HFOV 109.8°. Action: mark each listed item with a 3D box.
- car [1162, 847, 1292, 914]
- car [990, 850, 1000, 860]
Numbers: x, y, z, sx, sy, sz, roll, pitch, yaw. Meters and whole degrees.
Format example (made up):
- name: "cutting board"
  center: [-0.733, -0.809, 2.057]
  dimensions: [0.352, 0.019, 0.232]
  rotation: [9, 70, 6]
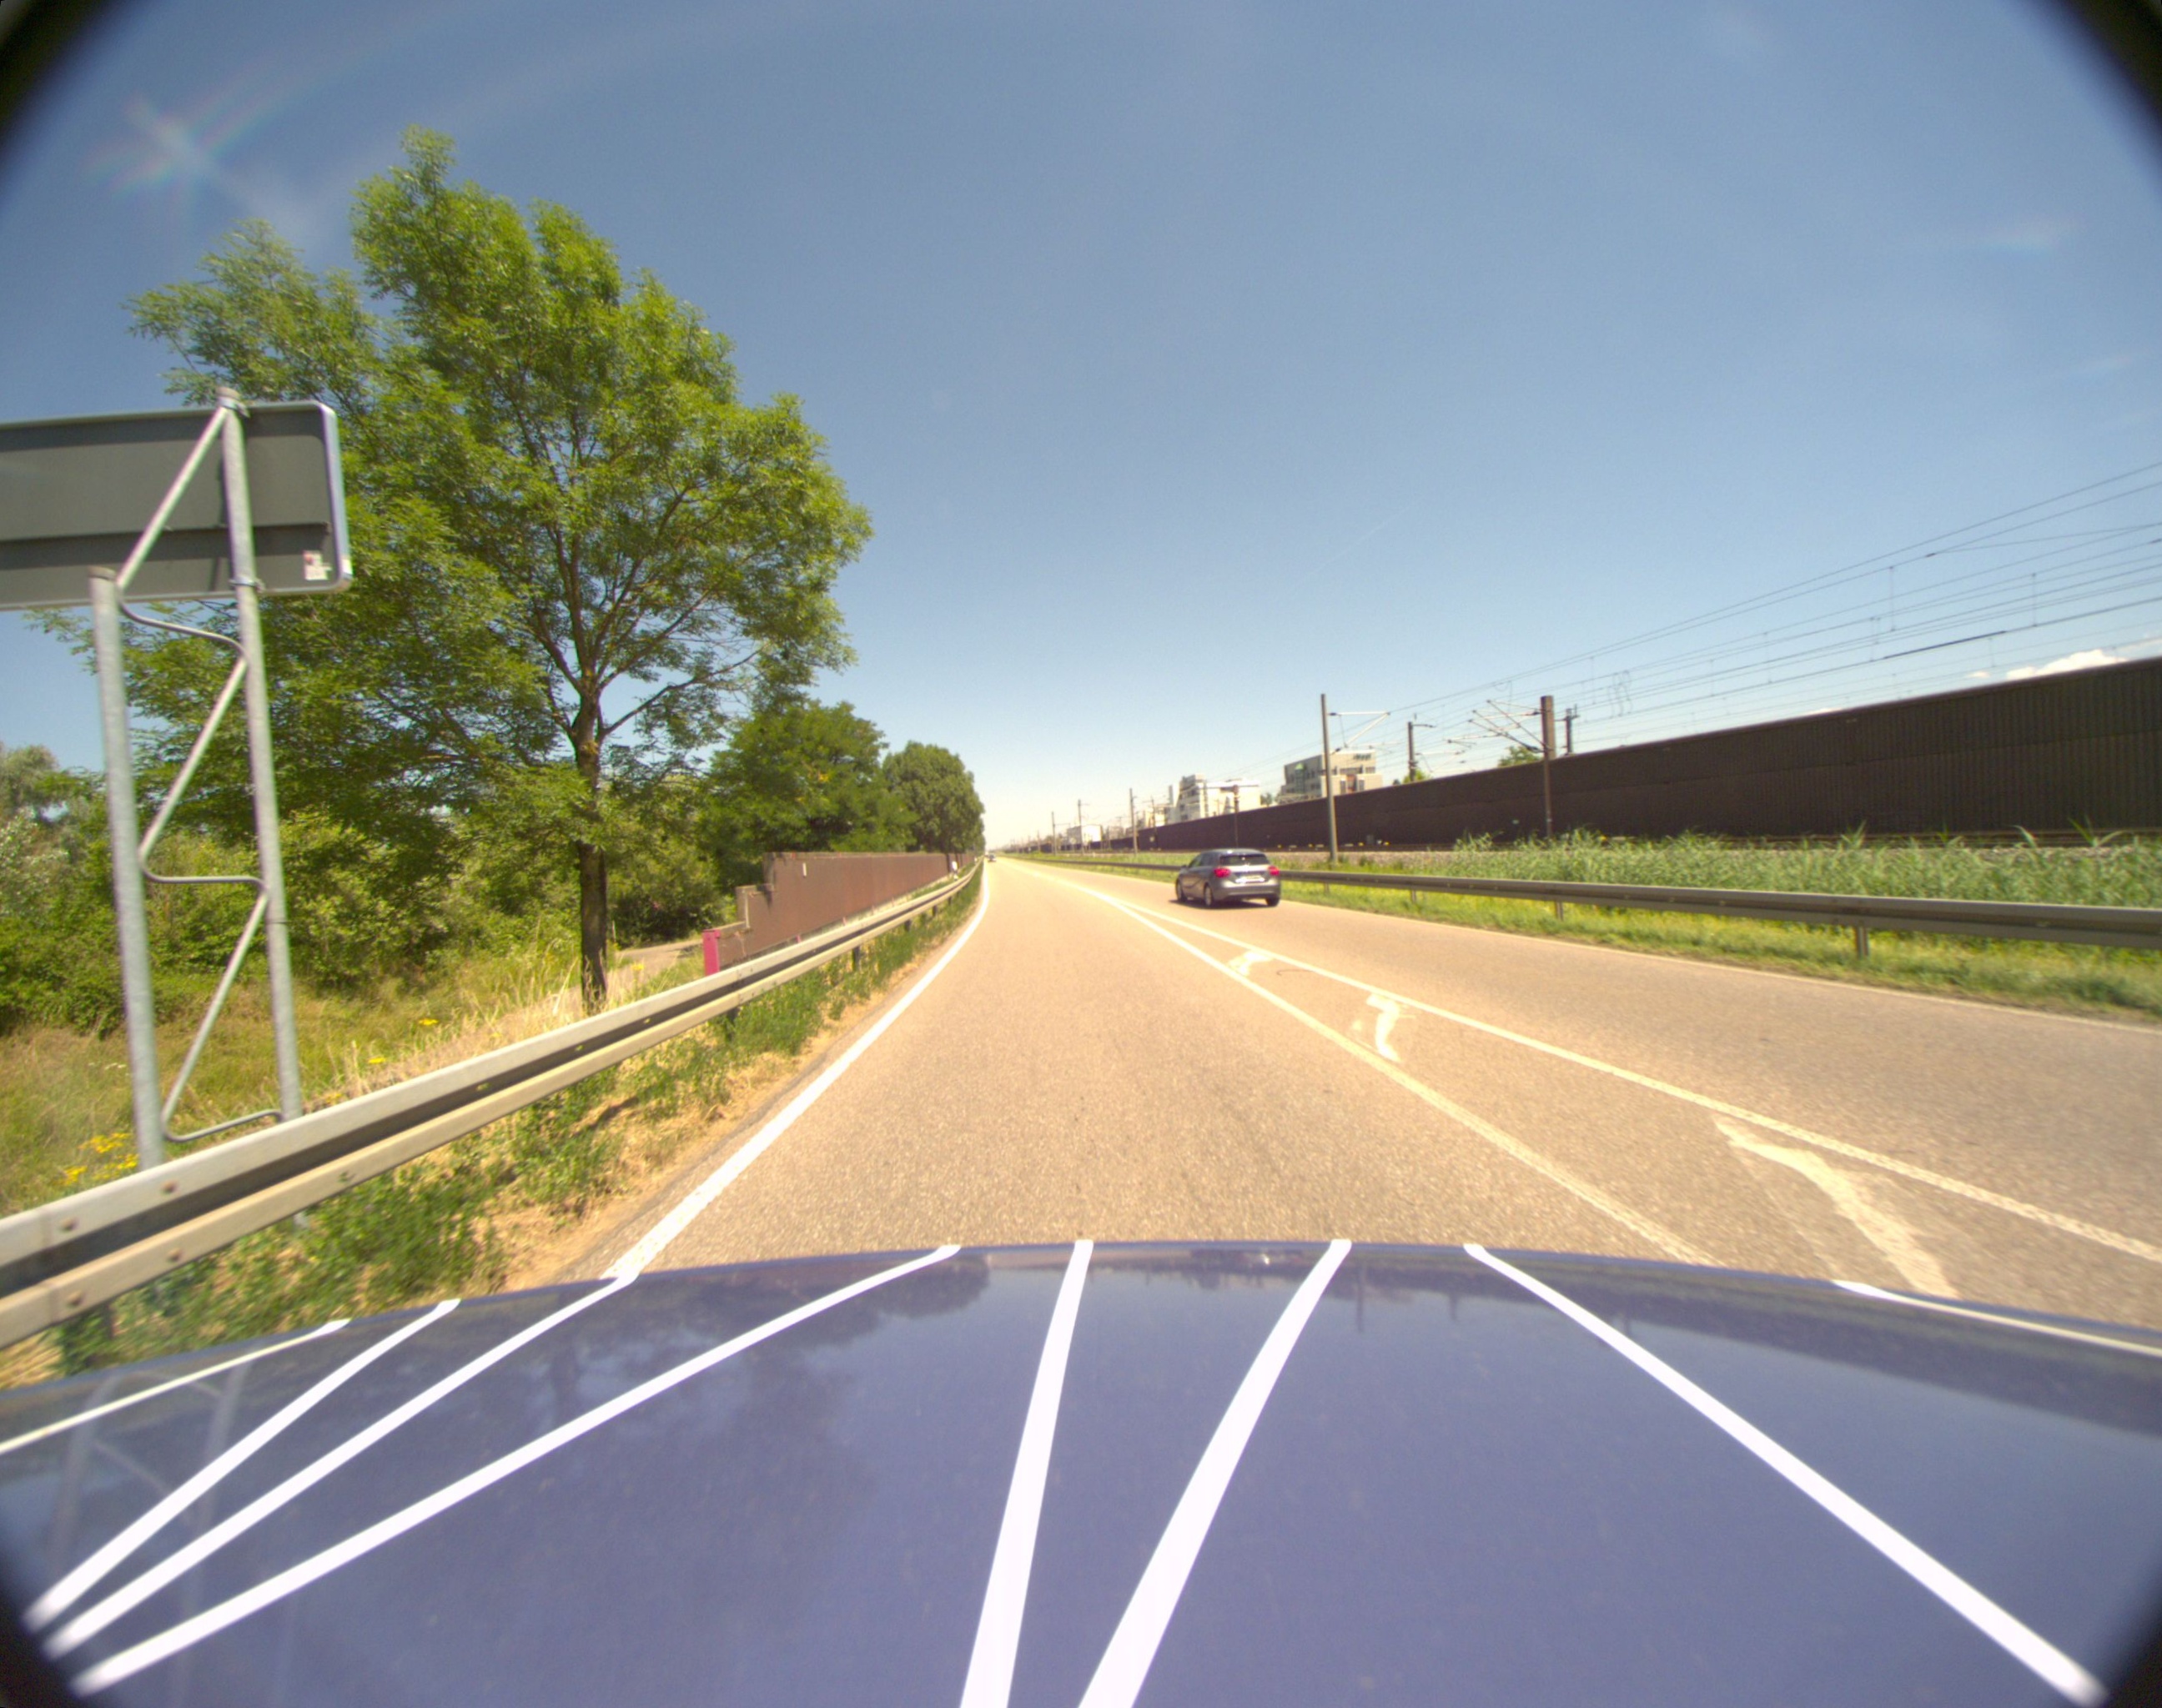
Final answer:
- name: "car"
  center: [3.697, 0.609, 20.241]
  dimensions: [1.870, 1.476, 4.884]
  rotation: [-3, 1, -8]
- name: "car"
  center: [-19.219, 0.216, 169.911]
  dimensions: [1.999, 2.002, 3.998]
  rotation: [-3, 1, -4]
